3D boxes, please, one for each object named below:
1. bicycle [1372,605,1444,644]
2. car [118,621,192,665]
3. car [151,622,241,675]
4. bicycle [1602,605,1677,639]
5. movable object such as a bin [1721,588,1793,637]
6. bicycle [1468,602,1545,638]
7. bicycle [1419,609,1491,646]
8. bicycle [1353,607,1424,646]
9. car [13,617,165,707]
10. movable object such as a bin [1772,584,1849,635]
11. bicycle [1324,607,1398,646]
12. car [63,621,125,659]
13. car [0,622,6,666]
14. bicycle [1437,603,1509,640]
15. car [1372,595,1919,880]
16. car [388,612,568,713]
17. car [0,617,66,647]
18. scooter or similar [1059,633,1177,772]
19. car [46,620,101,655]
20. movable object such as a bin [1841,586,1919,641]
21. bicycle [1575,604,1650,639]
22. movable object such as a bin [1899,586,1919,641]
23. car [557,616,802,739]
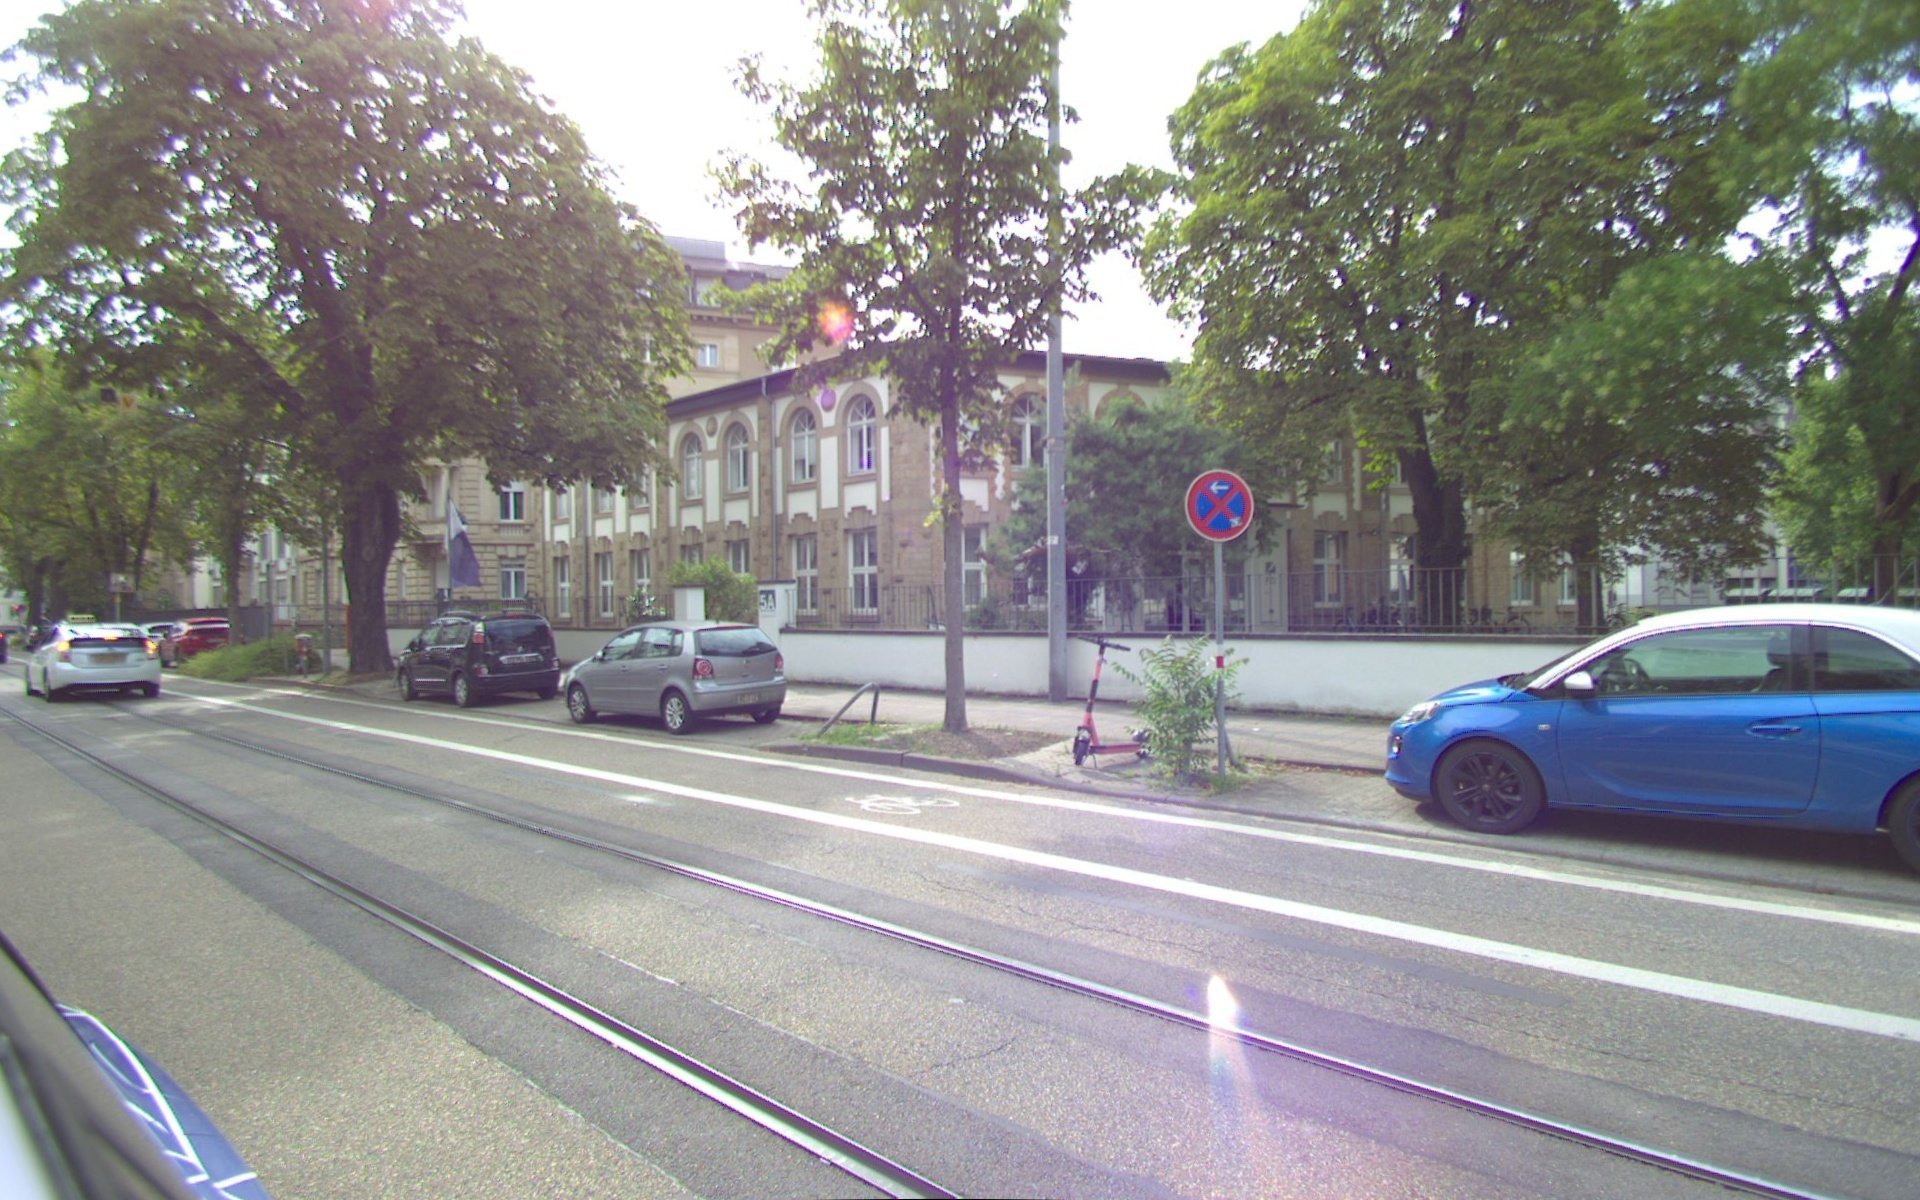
[{"bbox_3d":[12.886,0.694,29.171,0.584,1.051,1.984,-1,0,-23],"label":"bicycle"},{"bbox_3d":[-31.930,1.686,40.124,3.904,1.613,1.637,-2,-1,41],"label":"car"},{"bbox_3d":[-25.669,1.590,33.967,3.904,1.646,1.637,-2,-1,41],"label":"car"},{"bbox_3d":[21.847,0.700,32.595,0.584,1.051,1.984,-1,0,-23],"label":"bicycle"},{"bbox_3d":[23.794,0.362,30.223,1.103,1.441,1.288,0,0,-21],"label":"movable object such as a bin"},{"bbox_3d":[16.700,0.611,30.967,1.978,1.051,0.586,-1,0,44],"label":"bicycle"},{"bbox_3d":[14.487,0.785,29.662,0.584,1.051,1.984,-1,0,-23],"label":"bicycle"},{"bbox_3d":[12.191,0.734,28.838,0.584,1.051,1.984,-1,0,-23],"label":"bicycle"},{"bbox_3d":[-17.721,1.188,20.524,4.331,1.624,1.714,-2,-2,41],"label":"car"},{"bbox_3d":[24.306,0.265,28.927,1.103,1.441,1.288,0,0,-21],"label":"movable object such as a bin"},{"bbox_3d":[11.313,0.744,28.601,0.584,1.051,1.984,-1,0,-30],"label":"bicycle"},{"bbox_3d":[-40.064,1.834,46.819,3.904,1.646,1.637,-2,-1,41],"label":"car"},{"bbox_3d":[-37.078,1.659,37.718,4.332,1.624,1.828,-2,-1,41],"label":"car"},{"bbox_3d":[15.179,0.629,30.002,0.584,1.051,1.984,-1,0,-23],"label":"bicycle"},{"bbox_3d":[4.786,0.734,6.533,3.600,1.476,1.611,-2,-1,41],"label":"car"},{"bbox_3d":[-8.914,1.083,18.600,3.723,1.646,1.637,-2,-1,41],"label":"car"},{"bbox_3d":[-87.042,2.988,93.909,1.988,2.620,5.886,-1,-1,24],"label":"car"},{"bbox_3d":[1.485,0.936,9.498,0.988,1.176,0.370,-3,0,-24],"label":"scooter or similar"},{"bbox_3d":[-45.413,1.904,51.812,3.904,1.646,1.637,-2,-1,41],"label":"car"},{"bbox_3d":[25.017,0.347,27.466,1.103,1.441,1.288,0,0,-21],"label":"movable object such as a bin"},{"bbox_3d":[20.629,0.669,32.043,0.584,1.051,1.984,-1,0,-23],"label":"bicycle"},{"bbox_3d":[25.395,0.342,26.146,1.103,1.441,1.288,0,0,-21],"label":"movable object such as a bin"},{"bbox_3d":[-4.010,0.999,14.201,3.572,1.476,1.611,-2,-1,41],"label":"car"}]
